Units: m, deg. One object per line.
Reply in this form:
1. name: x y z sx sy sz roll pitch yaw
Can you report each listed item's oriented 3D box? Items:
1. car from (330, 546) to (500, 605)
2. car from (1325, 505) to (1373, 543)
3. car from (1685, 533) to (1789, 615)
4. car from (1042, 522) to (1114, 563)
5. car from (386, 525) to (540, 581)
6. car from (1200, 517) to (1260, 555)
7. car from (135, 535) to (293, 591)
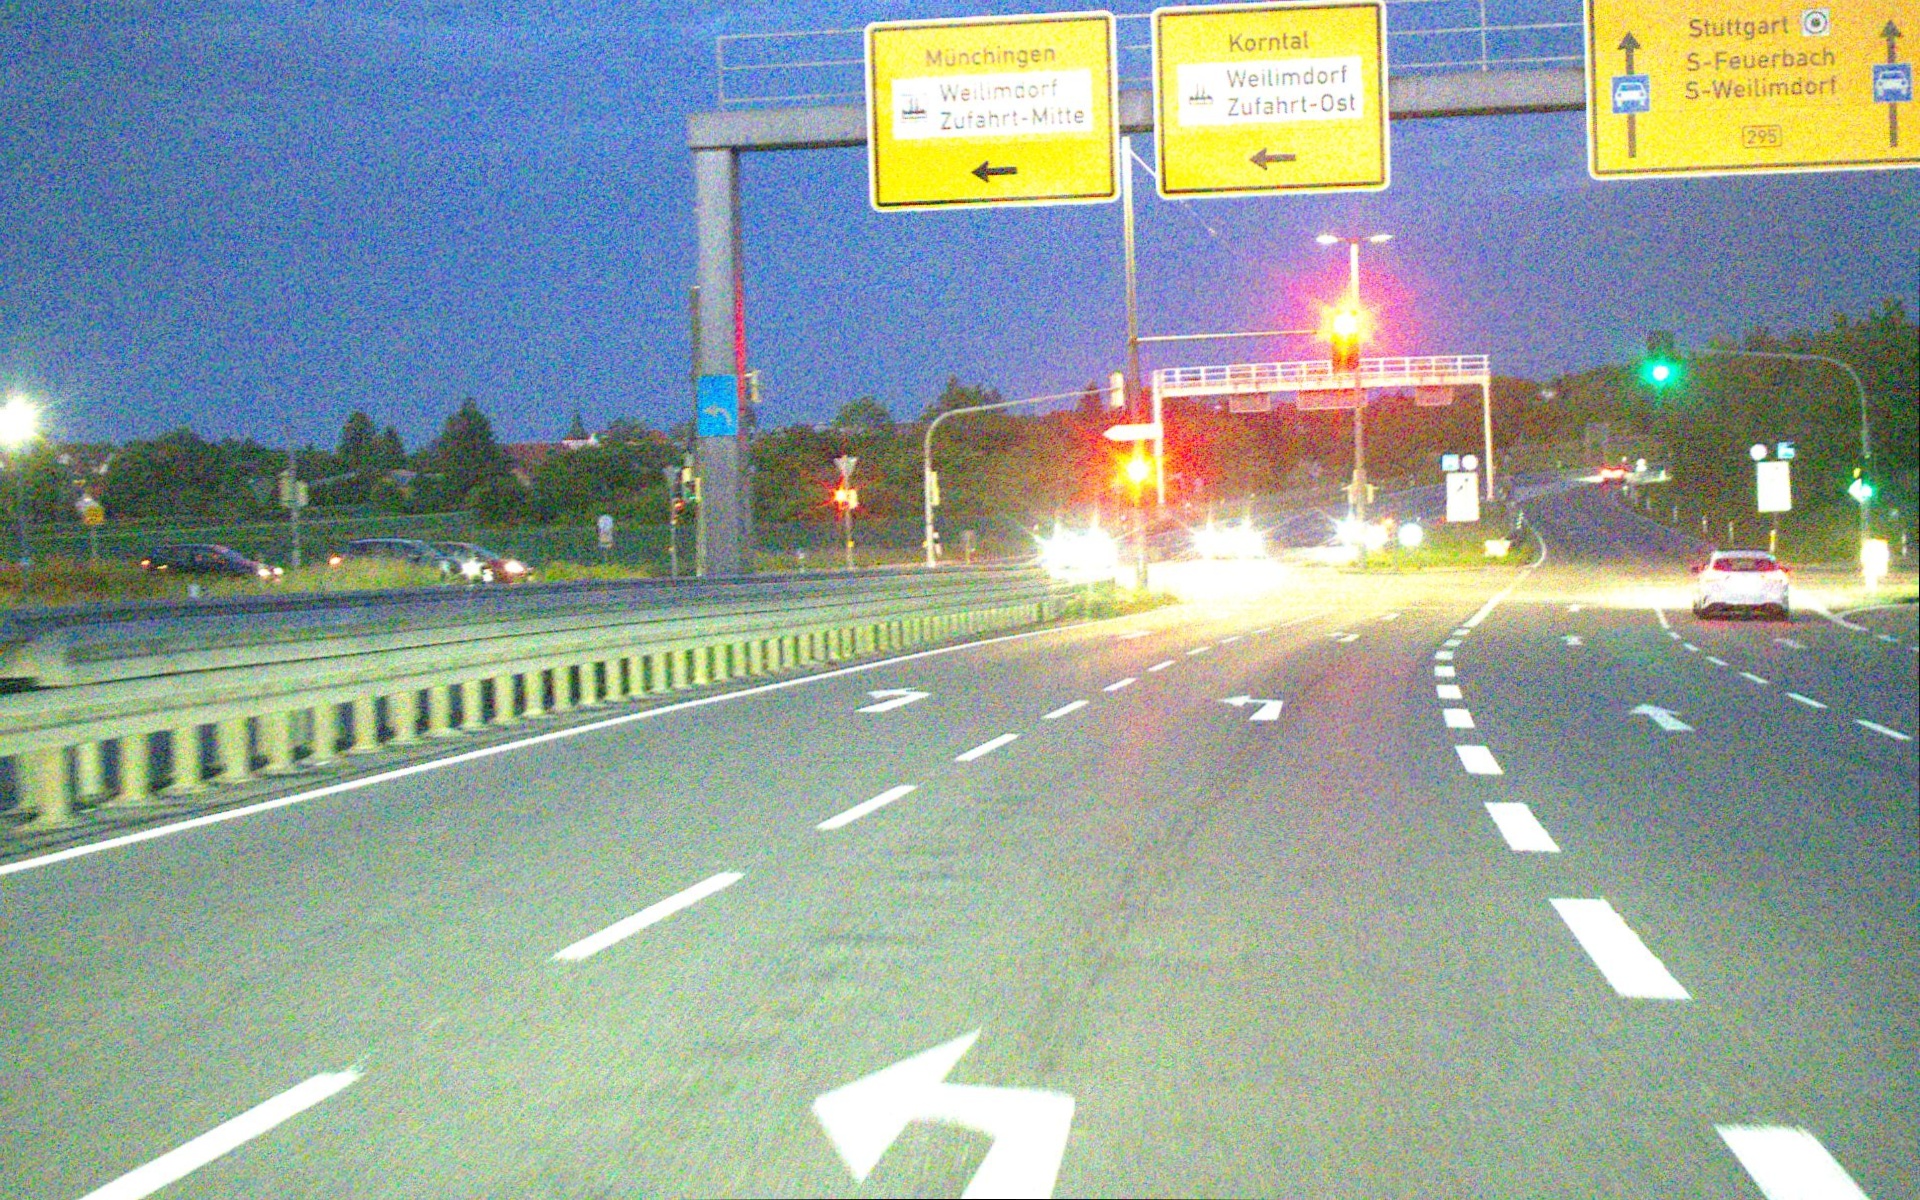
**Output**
1. car: -15.116 -0.678 95.421 4.315 1.532 1.729 -1 1 10
2. car: 18.098 -3.550 159.702 1.994 1.692 3.999 0 2 10
3. car: 15.974 -0.557 70.601 2.009 1.605 3.843 1 1 13
4. car: 4.292 -2.079 124.056 1.994 1.420 4.531 0 2 10
5. car: -14.296 -1.355 99.040 4.042 1.532 1.729 -1 1 8
6. car: 10.865 -2.600 138.210 1.994 1.476 4.680 0 2 10
7. car: -21.028 -1.049 96.981 3.987 1.468 1.729 -1 1 5
